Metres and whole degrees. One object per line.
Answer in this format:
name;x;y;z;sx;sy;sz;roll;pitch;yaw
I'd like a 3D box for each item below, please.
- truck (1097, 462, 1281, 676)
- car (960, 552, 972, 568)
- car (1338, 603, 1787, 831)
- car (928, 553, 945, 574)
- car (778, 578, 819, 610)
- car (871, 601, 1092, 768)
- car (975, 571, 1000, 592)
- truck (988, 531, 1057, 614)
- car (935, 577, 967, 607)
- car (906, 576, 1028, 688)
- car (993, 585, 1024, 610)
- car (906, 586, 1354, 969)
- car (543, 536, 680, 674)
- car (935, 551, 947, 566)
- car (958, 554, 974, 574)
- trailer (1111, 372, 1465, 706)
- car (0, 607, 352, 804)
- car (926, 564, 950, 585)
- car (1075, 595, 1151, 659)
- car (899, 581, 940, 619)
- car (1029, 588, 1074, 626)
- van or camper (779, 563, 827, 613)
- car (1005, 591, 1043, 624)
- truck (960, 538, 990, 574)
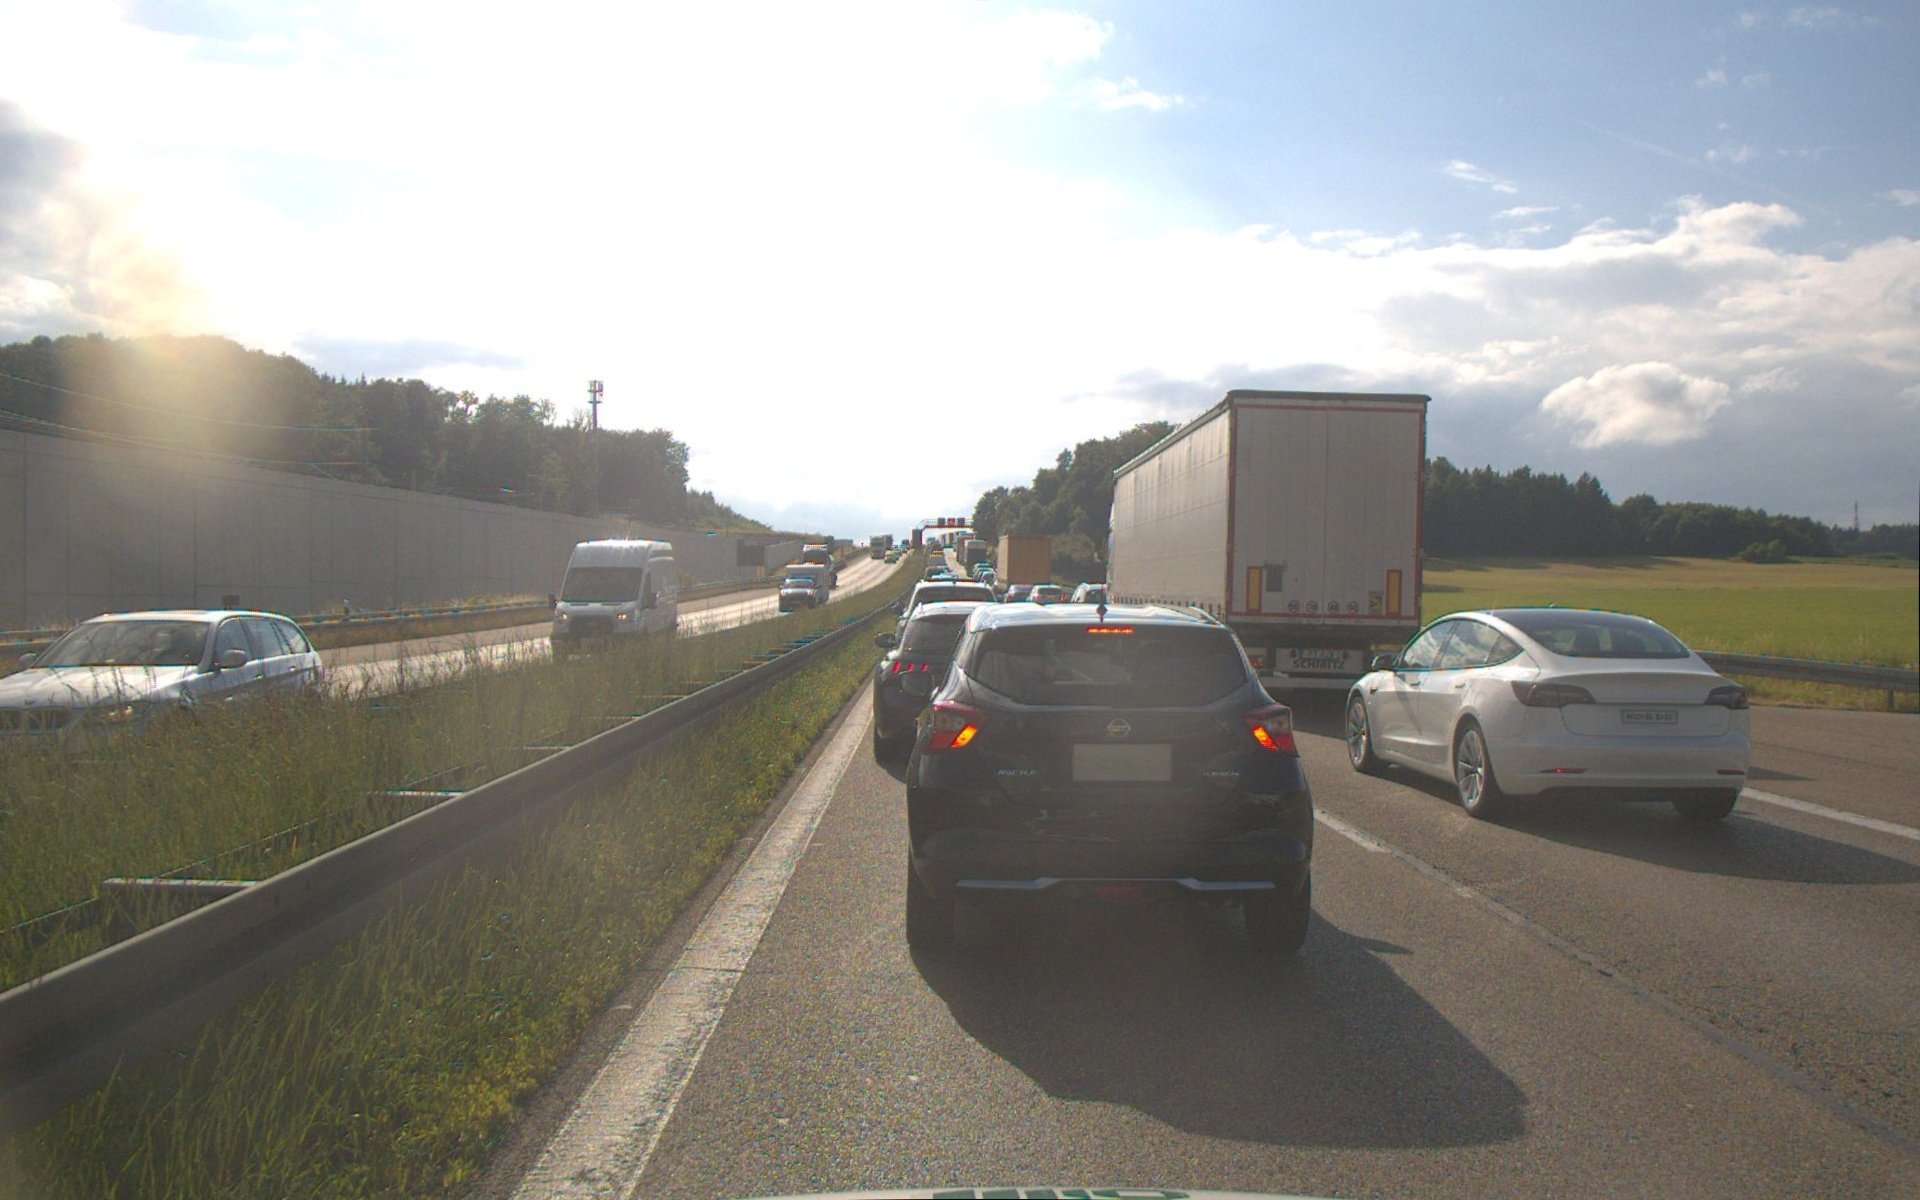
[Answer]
truck;4.637;-0.572;34.491;3.069;4.086;5.163;1;-1;0
car;0.910;-6.190;255.304;1.835;2.196;5.211;0;3;-1
car;4.378;0.757;12.823;1.752;1.418;4.435;0;0;-2
car;-2.543;-3.969;178.951;1.835;2.196;5.211;0;3;-1
car;-8.695;-0.317;89.118;1.871;1.701;4.361;0;0;-1
car;0.158;0.705;15.850;1.835;1.381;4.231;0;0;-1
car;2.382;-1.617;143.187;1.836;1.673;4.229;0;2;-4
truck;3.654;-1.529;100.830;3.230;4.657;12.435;1;0;-2
car;-0.526;-0.480;95.218;1.835;1.673;4.232;0;2;-1
car;0.083;0.478;26.910;1.835;1.673;4.231;0;0;-1
car;3.266;-0.172;111.812;1.836;1.673;4.230;0;1;-3
car;0.636;0.685;8.515;1.737;1.476;4.231;0;0;-1
car;-7.855;0.100;37.881;2.061;2.920;5.635;0;0;-1
car;-2.897;-6.381;252.004;1.835;2.196;5.211;0;3;-1
car;0.727;-4.348;200.161;1.835;2.196;5.211;0;3;-1
trailer;4.665;-0.654;27.110;3.067;4.081;13.364;1;-1;0
car;-7.081;0.812;14.711;1.835;1.476;4.231;0;0;-1
car;-1.819;-2.070;135.470;1.835;1.673;4.231;0;2;-2
car;4.064;0.695;44.560;1.663;1.639;4.437;0;0;0
car;-1.840;-0.034;76.768;1.835;1.673;4.232;0;1;-1
car;4.286;0.307;77.896;1.835;1.673;4.232;0;1;-1
van or camper;-8.968;-0.682;94.887;2.207;2.751;7.168;0;0;-1
car;3.361;0.356;87.336;1.835;1.673;4.232;0;1;-1
truck;2.001;-5.950;225.776;3.394;4.656;12.437;1;1;-2
